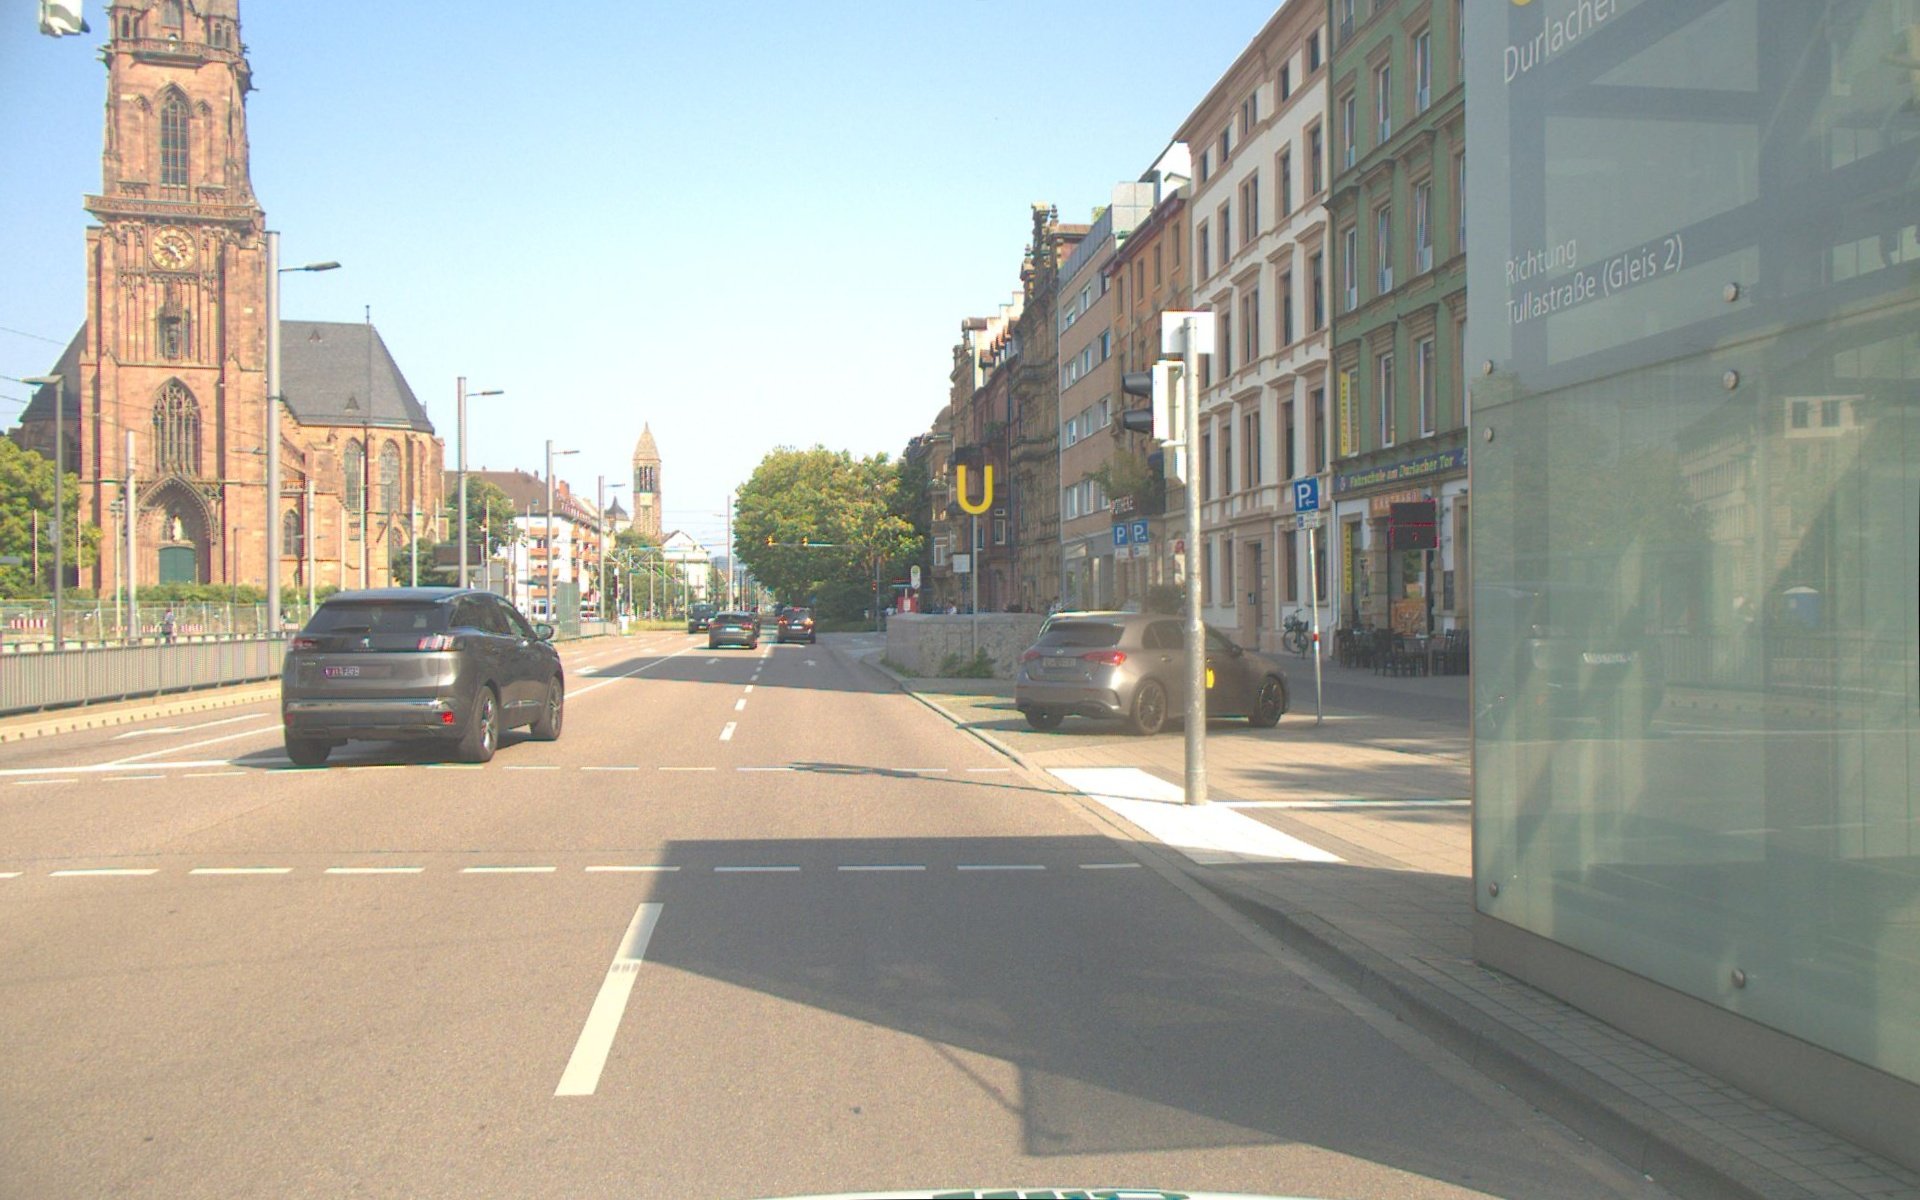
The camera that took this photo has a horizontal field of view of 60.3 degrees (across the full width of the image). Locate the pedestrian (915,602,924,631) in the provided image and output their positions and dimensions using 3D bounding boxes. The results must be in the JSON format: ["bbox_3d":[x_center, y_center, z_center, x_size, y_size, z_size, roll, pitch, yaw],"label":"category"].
[{"bbox_3d":[-2.449,0.992,99.715,0.472,1.732,0.701,-1,0,-9],"label":"pedestrian"}]

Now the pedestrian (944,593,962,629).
[{"bbox_3d":[-0.359,0.525,79.868,0.736,1.759,0.799,-1,0,-10],"label":"pedestrian"}]

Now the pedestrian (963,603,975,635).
[{"bbox_3d":[0.521,1.109,97.025,0.605,1.836,1.070,-1,0,-5],"label":"pedestrian"}]

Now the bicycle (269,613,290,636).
[{"bbox_3d":[-29.399,1.047,71.447,0.343,0.970,1.693,-1,0,-6],"label":"bicycle"}]

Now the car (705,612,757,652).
[{"bbox_3d":[-8.889,1.236,64.470,1.828,1.449,4.351,1,0,-6],"label":"car"}]

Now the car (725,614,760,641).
[{"bbox_3d":[-12.587,1.585,95.928,1.828,1.449,4.351,1,0,-6],"label":"car"}]

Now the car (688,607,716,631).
[{"bbox_3d":[-17.262,1.263,110.907,1.707,1.553,3.867,-1,0,-7],"label":"car"}]

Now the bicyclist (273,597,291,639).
[{"bbox_3d":[-29.339,0.772,71.571,0.477,1.778,0.818,-1,0,-6],"label":"bicyclist"}]

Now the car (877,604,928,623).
[{"bbox_3d":[-4.884,1.138,140.625,4.105,1.591,1.995,-1,0,-11],"label":"car"}]

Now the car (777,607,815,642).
[{"bbox_3d":[-8.042,1.171,81.149,1.796,1.649,4.351,1,0,-6],"label":"car"}]

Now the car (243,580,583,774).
[{"bbox_3d":[-5.222,0.667,16.480,1.953,1.649,4.356,-1,0,0],"label":"car"}]

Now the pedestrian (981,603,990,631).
[{"bbox_3d":[1.503,1.015,97.454,0.476,1.638,0.812,-1,-1,-5],"label":"pedestrian"}]

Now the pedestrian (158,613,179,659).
[{"bbox_3d":[-30.099,1.349,62.909,0.507,1.730,0.663,-1,0,-7],"label":"pedestrian"}]

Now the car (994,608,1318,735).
[{"bbox_3d":[2.578,0.832,21.035,1.817,1.448,4.378,-1,-1,44],"label":"car"}]

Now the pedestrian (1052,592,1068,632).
[{"bbox_3d":[4.692,0.559,77.837,0.592,1.864,0.741,-1,0,-10],"label":"pedestrian"}]

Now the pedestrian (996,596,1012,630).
[{"bbox_3d":[2.165,0.652,81.559,0.706,1.638,0.855,-1,-1,-5],"label":"pedestrian"}]

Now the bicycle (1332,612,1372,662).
[{"bbox_3d":[9.190,0.858,38.839,0.376,1.154,1.717,-1,0,-6],"label":"bicycle"}]

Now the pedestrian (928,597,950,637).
[{"bbox_3d":[-0.974,0.786,76.438,0.908,1.864,0.799,-1,0,-10],"label":"pedestrian"}]

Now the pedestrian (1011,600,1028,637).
[{"bbox_3d":[2.949,0.914,81.674,0.706,1.819,0.855,-1,-1,-5],"label":"pedestrian"}]

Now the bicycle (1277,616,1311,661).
[{"bbox_3d":[8.752,0.996,43.385,0.376,1.154,1.717,-1,0,-6],"label":"bicycle"}]

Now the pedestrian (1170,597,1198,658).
[{"bbox_3d":[6.168,0.744,45.517,0.597,1.657,0.736,-1,0,-6],"label":"pedestrian"}]

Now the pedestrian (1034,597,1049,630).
[{"bbox_3d":[4.171,0.687,84.654,0.592,1.721,0.586,-1,0,-10],"label":"pedestrian"}]

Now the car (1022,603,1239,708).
[{"bbox_3d":[2.685,0.807,25.507,1.594,1.489,3.507,-1,-1,42],"label":"car"}]

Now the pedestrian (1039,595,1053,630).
[{"bbox_3d":[4.342,0.641,83.906,0.592,1.761,0.509,-1,0,-10],"label":"pedestrian"}]

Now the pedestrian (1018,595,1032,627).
[{"bbox_3d":[3.436,0.599,87.412,0.592,1.683,0.586,-1,0,-10],"label":"pedestrian"}]

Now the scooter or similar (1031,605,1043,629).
[{"bbox_3d":[3.848,0.849,82.645,0.353,1.183,1.150,-1,0,-9],"label":"scooter or similar"}]

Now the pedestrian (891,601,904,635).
[{"bbox_3d":[-3.239,0.950,85.944,0.554,1.759,0.744,-1,0,-9],"label":"pedestrian"}]
